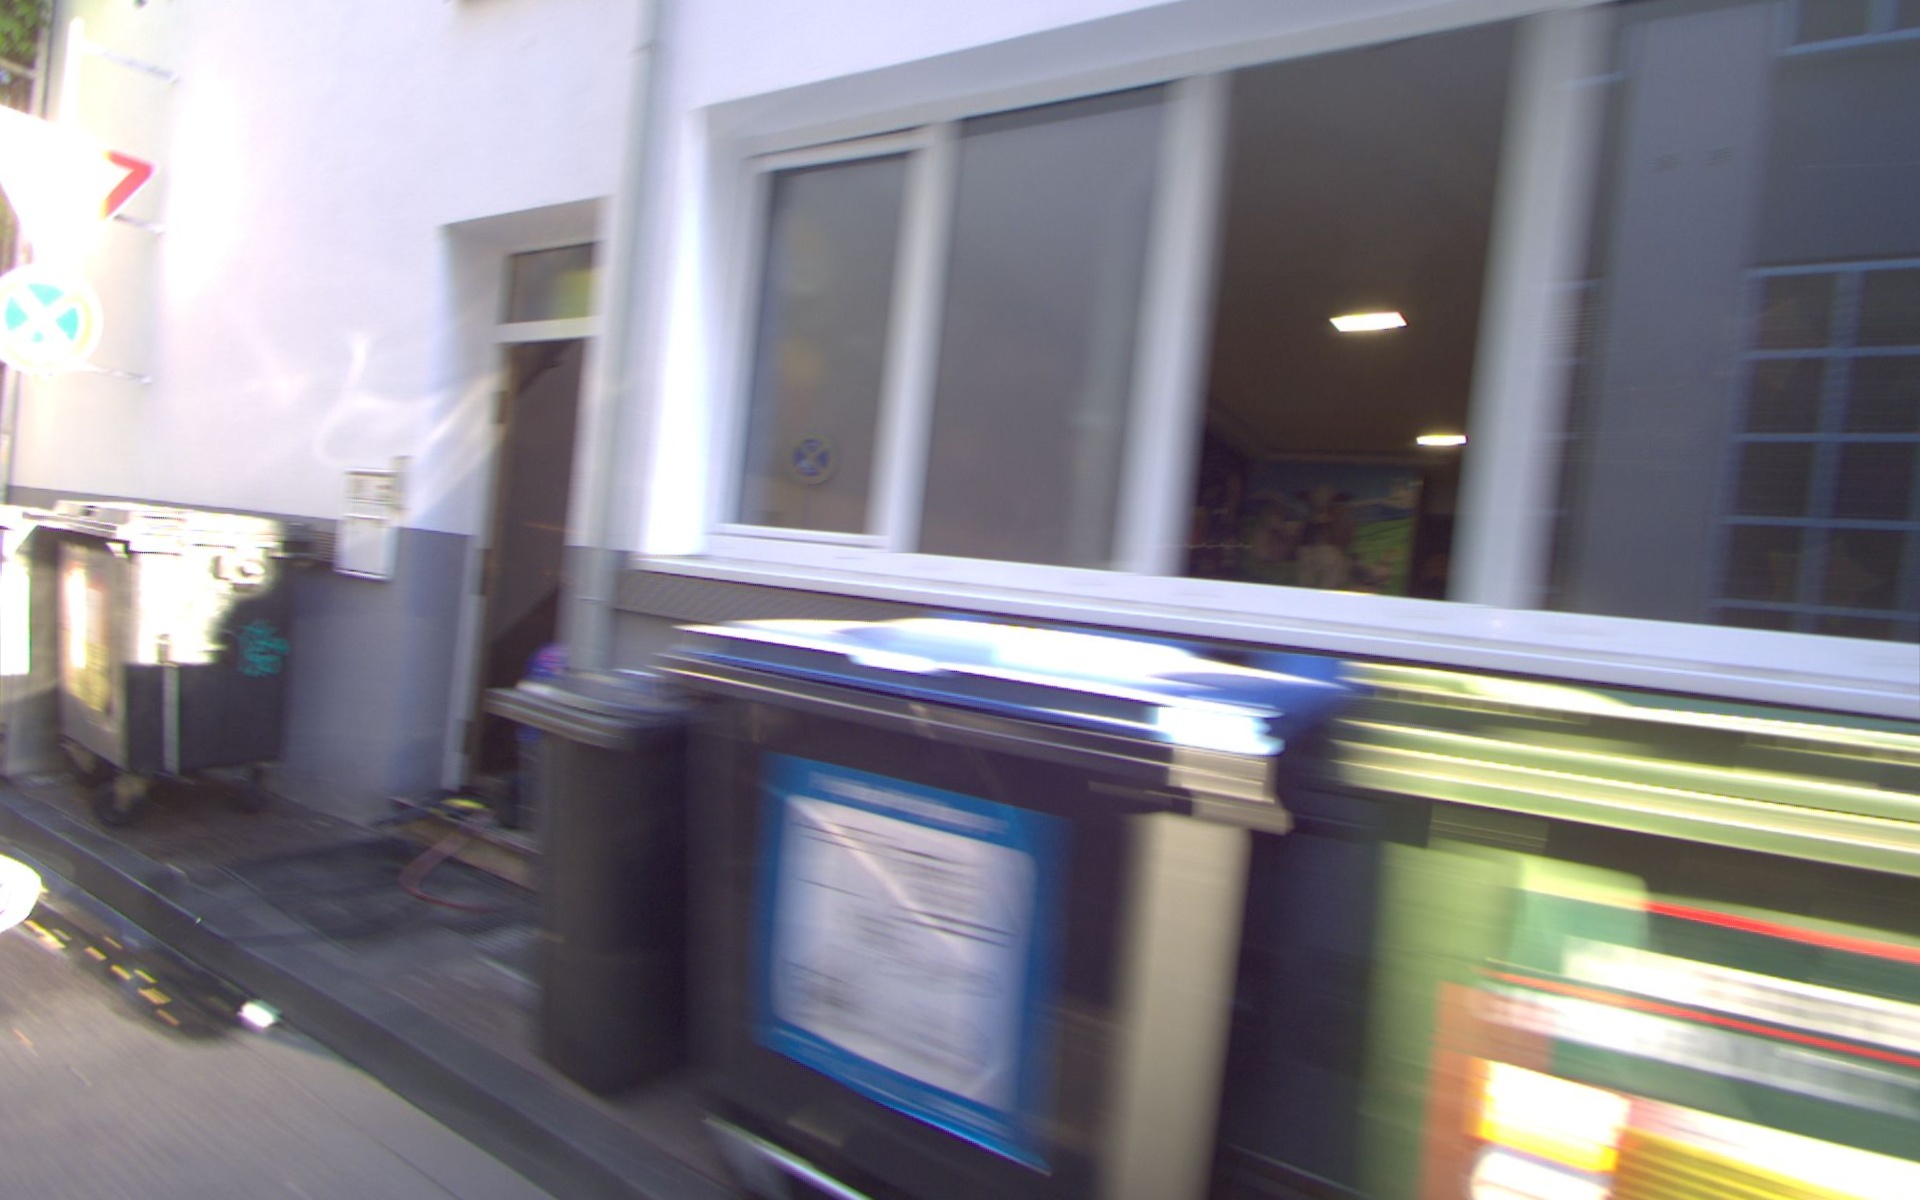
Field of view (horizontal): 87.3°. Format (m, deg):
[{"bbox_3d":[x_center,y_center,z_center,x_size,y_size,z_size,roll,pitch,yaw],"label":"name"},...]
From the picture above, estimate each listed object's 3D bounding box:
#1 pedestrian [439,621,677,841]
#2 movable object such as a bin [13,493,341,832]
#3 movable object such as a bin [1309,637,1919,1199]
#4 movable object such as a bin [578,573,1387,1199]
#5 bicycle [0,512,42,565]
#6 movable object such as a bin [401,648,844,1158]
[{"bbox_3d":[-1.816,0.567,4.563,0.708,0.819,0.609,8,0,31],"label":"pedestrian"},{"bbox_3d":[-3.693,0.232,4.735,1.269,1.322,0.835,7,3,34],"label":"movable object such as a bin"},{"bbox_3d":[1.248,0.826,1.456,1.318,1.385,0.938,7,3,25],"label":"movable object such as a bin"},{"bbox_3d":[0.089,0.713,2.201,1.319,1.385,1.065,7,3,29],"label":"movable object such as a bin"},{"bbox_3d":[-20.915,-1.357,21.685,1.648,1.065,0.655,2,5,-42],"label":"bicycle"},{"bbox_3d":[-0.926,0.730,2.872,0.726,1.089,0.869,7,3,30],"label":"movable object such as a bin"}]
